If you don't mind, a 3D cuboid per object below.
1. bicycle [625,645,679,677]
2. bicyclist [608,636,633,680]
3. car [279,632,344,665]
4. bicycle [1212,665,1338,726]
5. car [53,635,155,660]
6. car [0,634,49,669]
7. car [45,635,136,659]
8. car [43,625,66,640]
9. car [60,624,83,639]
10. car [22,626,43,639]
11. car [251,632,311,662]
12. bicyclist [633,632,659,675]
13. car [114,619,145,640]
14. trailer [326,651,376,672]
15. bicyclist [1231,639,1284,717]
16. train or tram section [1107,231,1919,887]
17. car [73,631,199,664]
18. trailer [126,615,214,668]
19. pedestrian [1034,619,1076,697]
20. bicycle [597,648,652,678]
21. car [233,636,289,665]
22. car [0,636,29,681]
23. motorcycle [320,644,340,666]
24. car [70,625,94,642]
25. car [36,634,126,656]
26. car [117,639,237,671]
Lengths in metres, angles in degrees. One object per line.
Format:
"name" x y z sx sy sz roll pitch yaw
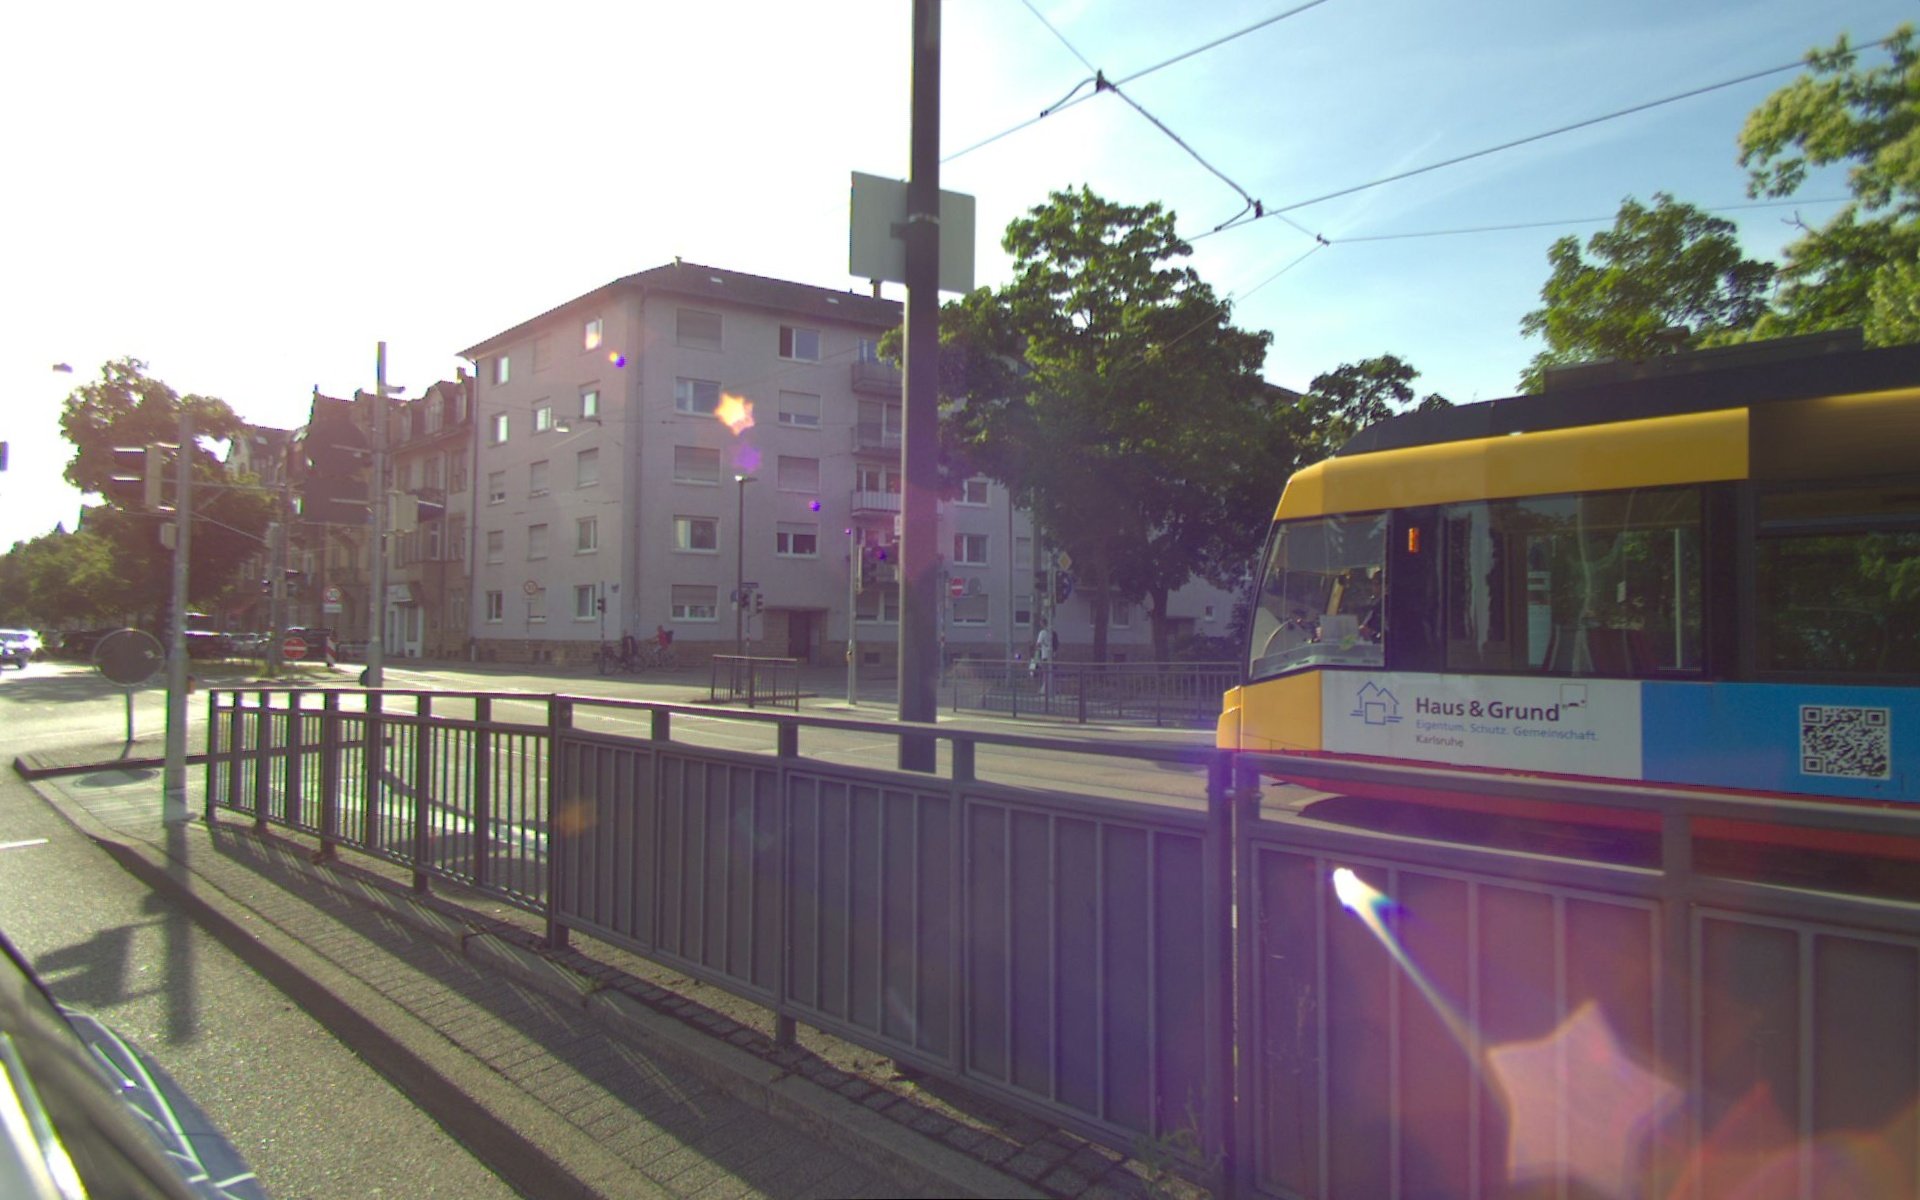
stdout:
"bicycle" -12.064 2.366 39.661 1.946 1.212 0.737 0 -2 -27
"bicyclist" -12.916 2.188 38.520 0.760 1.655 0.797 2 -3 -27
"car" -36.595 2.735 57.073 4.720 1.763 2.140 -2 -3 45
"bicycle" 5.828 1.750 18.852 0.535 1.026 2.252 1 -3 -44
"car" -50.552 2.798 59.836 4.239 1.433 1.962 0 -2 -6
"car" -44.487 2.425 47.906 1.970 1.586 4.004 1 -3 -43
"car" -55.566 2.985 64.726 4.205 1.433 1.684 0 -2 -6
"car" -125.749 4.497 140.532 3.999 2.029 1.972 -2 -3 42
"car" -115.659 4.106 131.728 1.970 2.029 4.003 1 -3 -44
"car" -141.450 4.979 154.398 3.999 2.029 1.972 -2 -3 42
"car" -41.184 2.829 61.308 4.612 1.763 2.140 -2 -3 45
"bicyclist" -12.264 2.075 39.524 0.839 1.655 0.816 0 -2 -27
"car" -84.707 3.033 103.210 4.000 2.029 1.972 -2 -3 43
"trailer" -31.710 3.177 52.669 2.879 0.903 1.425 -2 2 43
"bicyclist" 5.594 1.443 19.011 0.717 1.424 0.643 -3 -3 45
"train or tram section" 7.736 -0.259 5.170 14.527 3.506 3.128 -2 -3 42
"car" -43.198 2.491 53.161 4.645 1.703 2.175 1 -3 -6
"trailer" -37.265 1.965 47.826 2.817 2.410 1.728 0 -2 -16
"pedestrian" 2.423 1.461 25.743 0.705 1.924 0.996 -1 -2 29
"bicycle" -12.784 2.379 38.577 1.883 1.119 0.737 1 -4 -27
"car" -45.103 3.227 65.287 4.612 1.763 2.140 -2 -3 45
"car" -35.825 2.141 37.472 1.970 1.586 4.004 1 -3 -43
"motorcycle" -33.704 2.933 54.160 0.626 1.088 1.739 0 -2 -23
"car" -107.643 4.131 124.087 1.970 2.029 4.003 1 -3 -44
"car" -60.599 3.094 69.835 4.205 1.433 2.175 0 -2 -6
"car" -35.007 2.447 45.331 3.888 1.370 1.676 1 -3 -11
